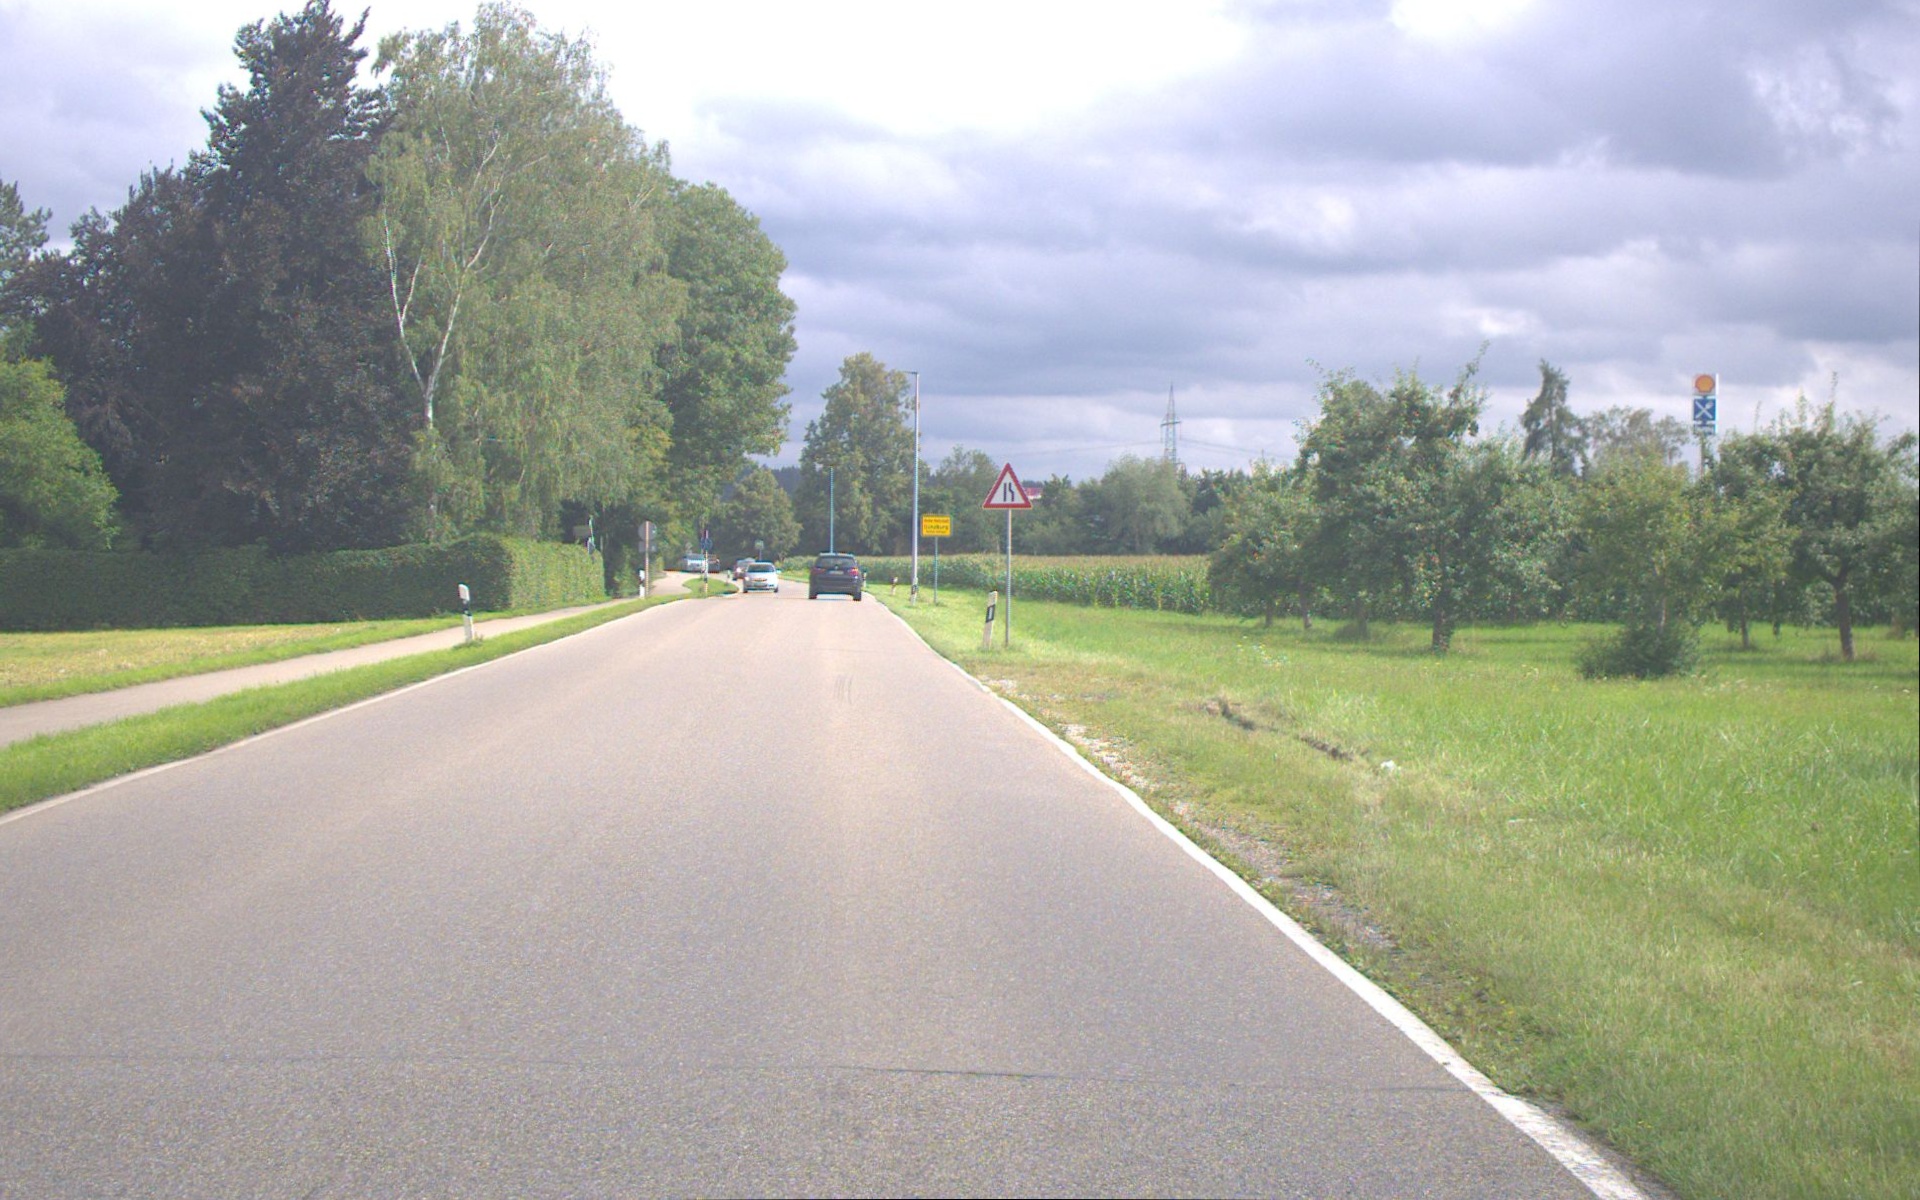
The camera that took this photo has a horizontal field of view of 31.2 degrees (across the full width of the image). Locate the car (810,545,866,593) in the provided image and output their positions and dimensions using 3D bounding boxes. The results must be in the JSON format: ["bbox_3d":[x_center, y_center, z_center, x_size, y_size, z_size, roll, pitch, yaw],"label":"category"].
[{"bbox_3d":[-4.363,-1.109,123.218,1.906,1.660,4.000,-1,1,-1],"label":"car"}]

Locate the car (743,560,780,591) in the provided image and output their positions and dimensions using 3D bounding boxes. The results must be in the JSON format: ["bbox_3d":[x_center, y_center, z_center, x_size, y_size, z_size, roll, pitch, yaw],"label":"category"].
[{"bbox_3d":[-9.621,-1.214,166.935,1.695,1.454,3.543,-1,1,-2],"label":"car"}]
